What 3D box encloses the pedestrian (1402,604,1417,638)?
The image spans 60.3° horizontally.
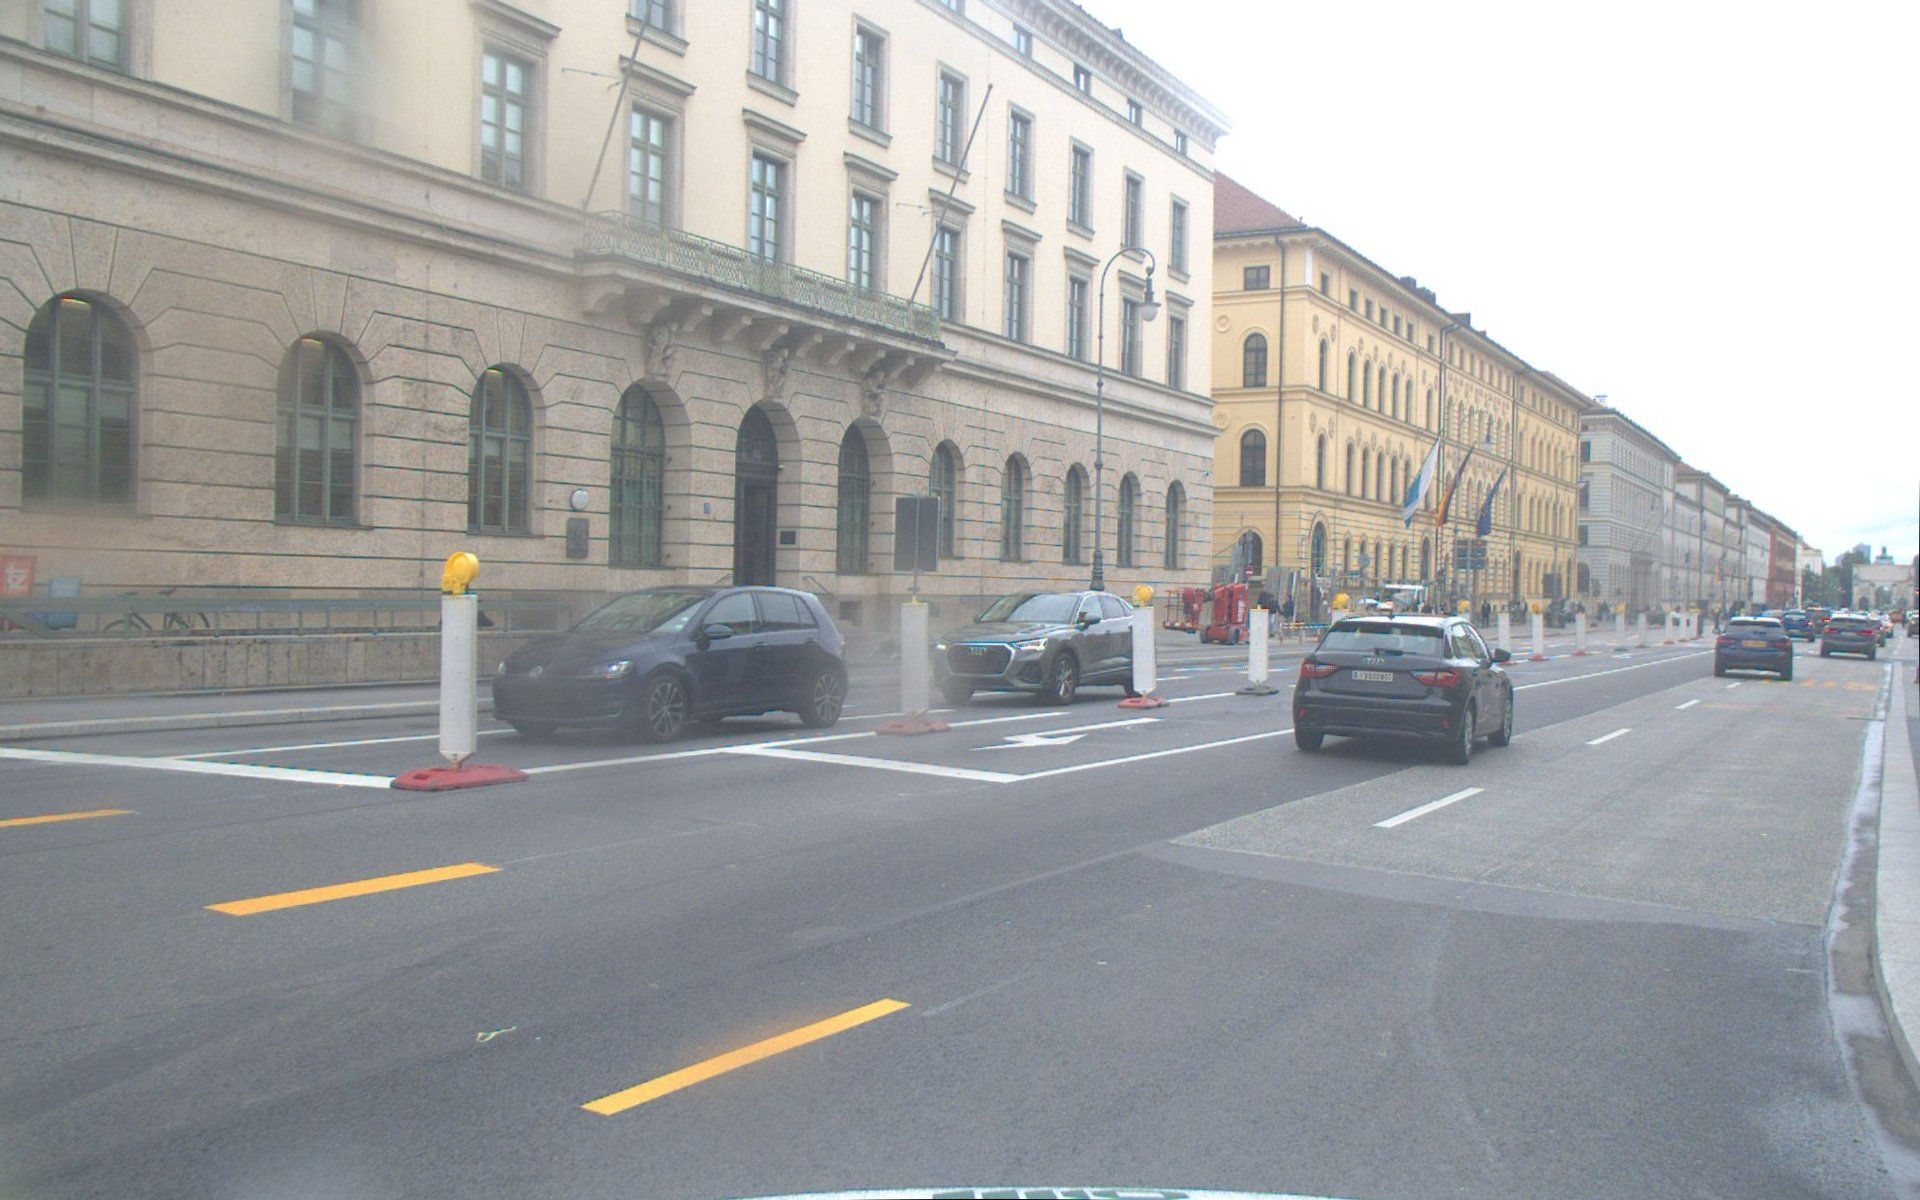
[{"bbox_3d":[20.741,0.971,76.336,0.542,1.557,0.617,2,-1,27],"label":"pedestrian"}]

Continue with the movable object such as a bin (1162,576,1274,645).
[{"bbox_3d":[8.423,0.376,53.572,1.483,2.049,5.963,2,-1,30],"label":"movable object such as a bin"}]

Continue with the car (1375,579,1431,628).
[{"bbox_3d":[22.603,0.213,84.300,1.706,2.328,3.991,2,-1,30],"label":"car"}]

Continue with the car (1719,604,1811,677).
[{"bbox_3d":[19.896,1.001,40.798,1.736,1.645,3.991,2,-1,30],"label":"car"}]

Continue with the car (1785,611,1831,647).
[{"bbox_3d":[45.313,1.546,88.394,1.957,1.803,3.992,1,0,30],"label":"car"}]

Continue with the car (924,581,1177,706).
[{"bbox_3d":[1.400,0.581,23.404,1.752,1.594,4.568,-1,-1,29],"label":"car"}]

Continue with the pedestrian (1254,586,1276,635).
[{"bbox_3d":[12.513,0.445,67.934,0.666,1.965,0.651,2,-1,27],"label":"pedestrian"}]

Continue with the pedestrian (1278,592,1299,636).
[{"bbox_3d":[12.806,0.531,64.530,0.600,1.681,0.617,2,-1,27],"label":"pedestrian"}]

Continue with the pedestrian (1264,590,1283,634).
[{"bbox_3d":[12.289,0.480,64.785,0.542,1.705,0.617,2,-1,27],"label":"pedestrian"}]

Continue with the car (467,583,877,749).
[{"bbox_3d":[-2.674,0.608,16.388,1.711,1.413,4.232,0,-1,29],"label":"car"}]

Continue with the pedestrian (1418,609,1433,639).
[{"bbox_3d":[22.625,1.174,80.415,0.529,1.435,0.617,2,-1,27],"label":"pedestrian"}]

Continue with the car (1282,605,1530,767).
[{"bbox_3d":[4.811,0.810,17.437,1.827,1.412,3.997,3,1,25],"label":"car"}]

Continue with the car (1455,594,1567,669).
[{"bbox_3d":[13.169,0.764,39.396,1.736,1.645,3.991,2,-1,30],"label":"car"}]

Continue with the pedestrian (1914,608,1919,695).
[{"bbox_3d":[21.517,1.148,36.632,0.605,1.908,0.539,1,-1,34],"label":"pedestrian"}]

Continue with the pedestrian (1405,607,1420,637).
[{"bbox_3d":[22.095,1.087,80.718,0.529,1.431,0.617,2,-1,27],"label":"pedestrian"}]

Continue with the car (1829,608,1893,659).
[{"bbox_3d":[33.647,1.219,61.719,1.957,1.803,3.992,1,0,30],"label":"car"}]
